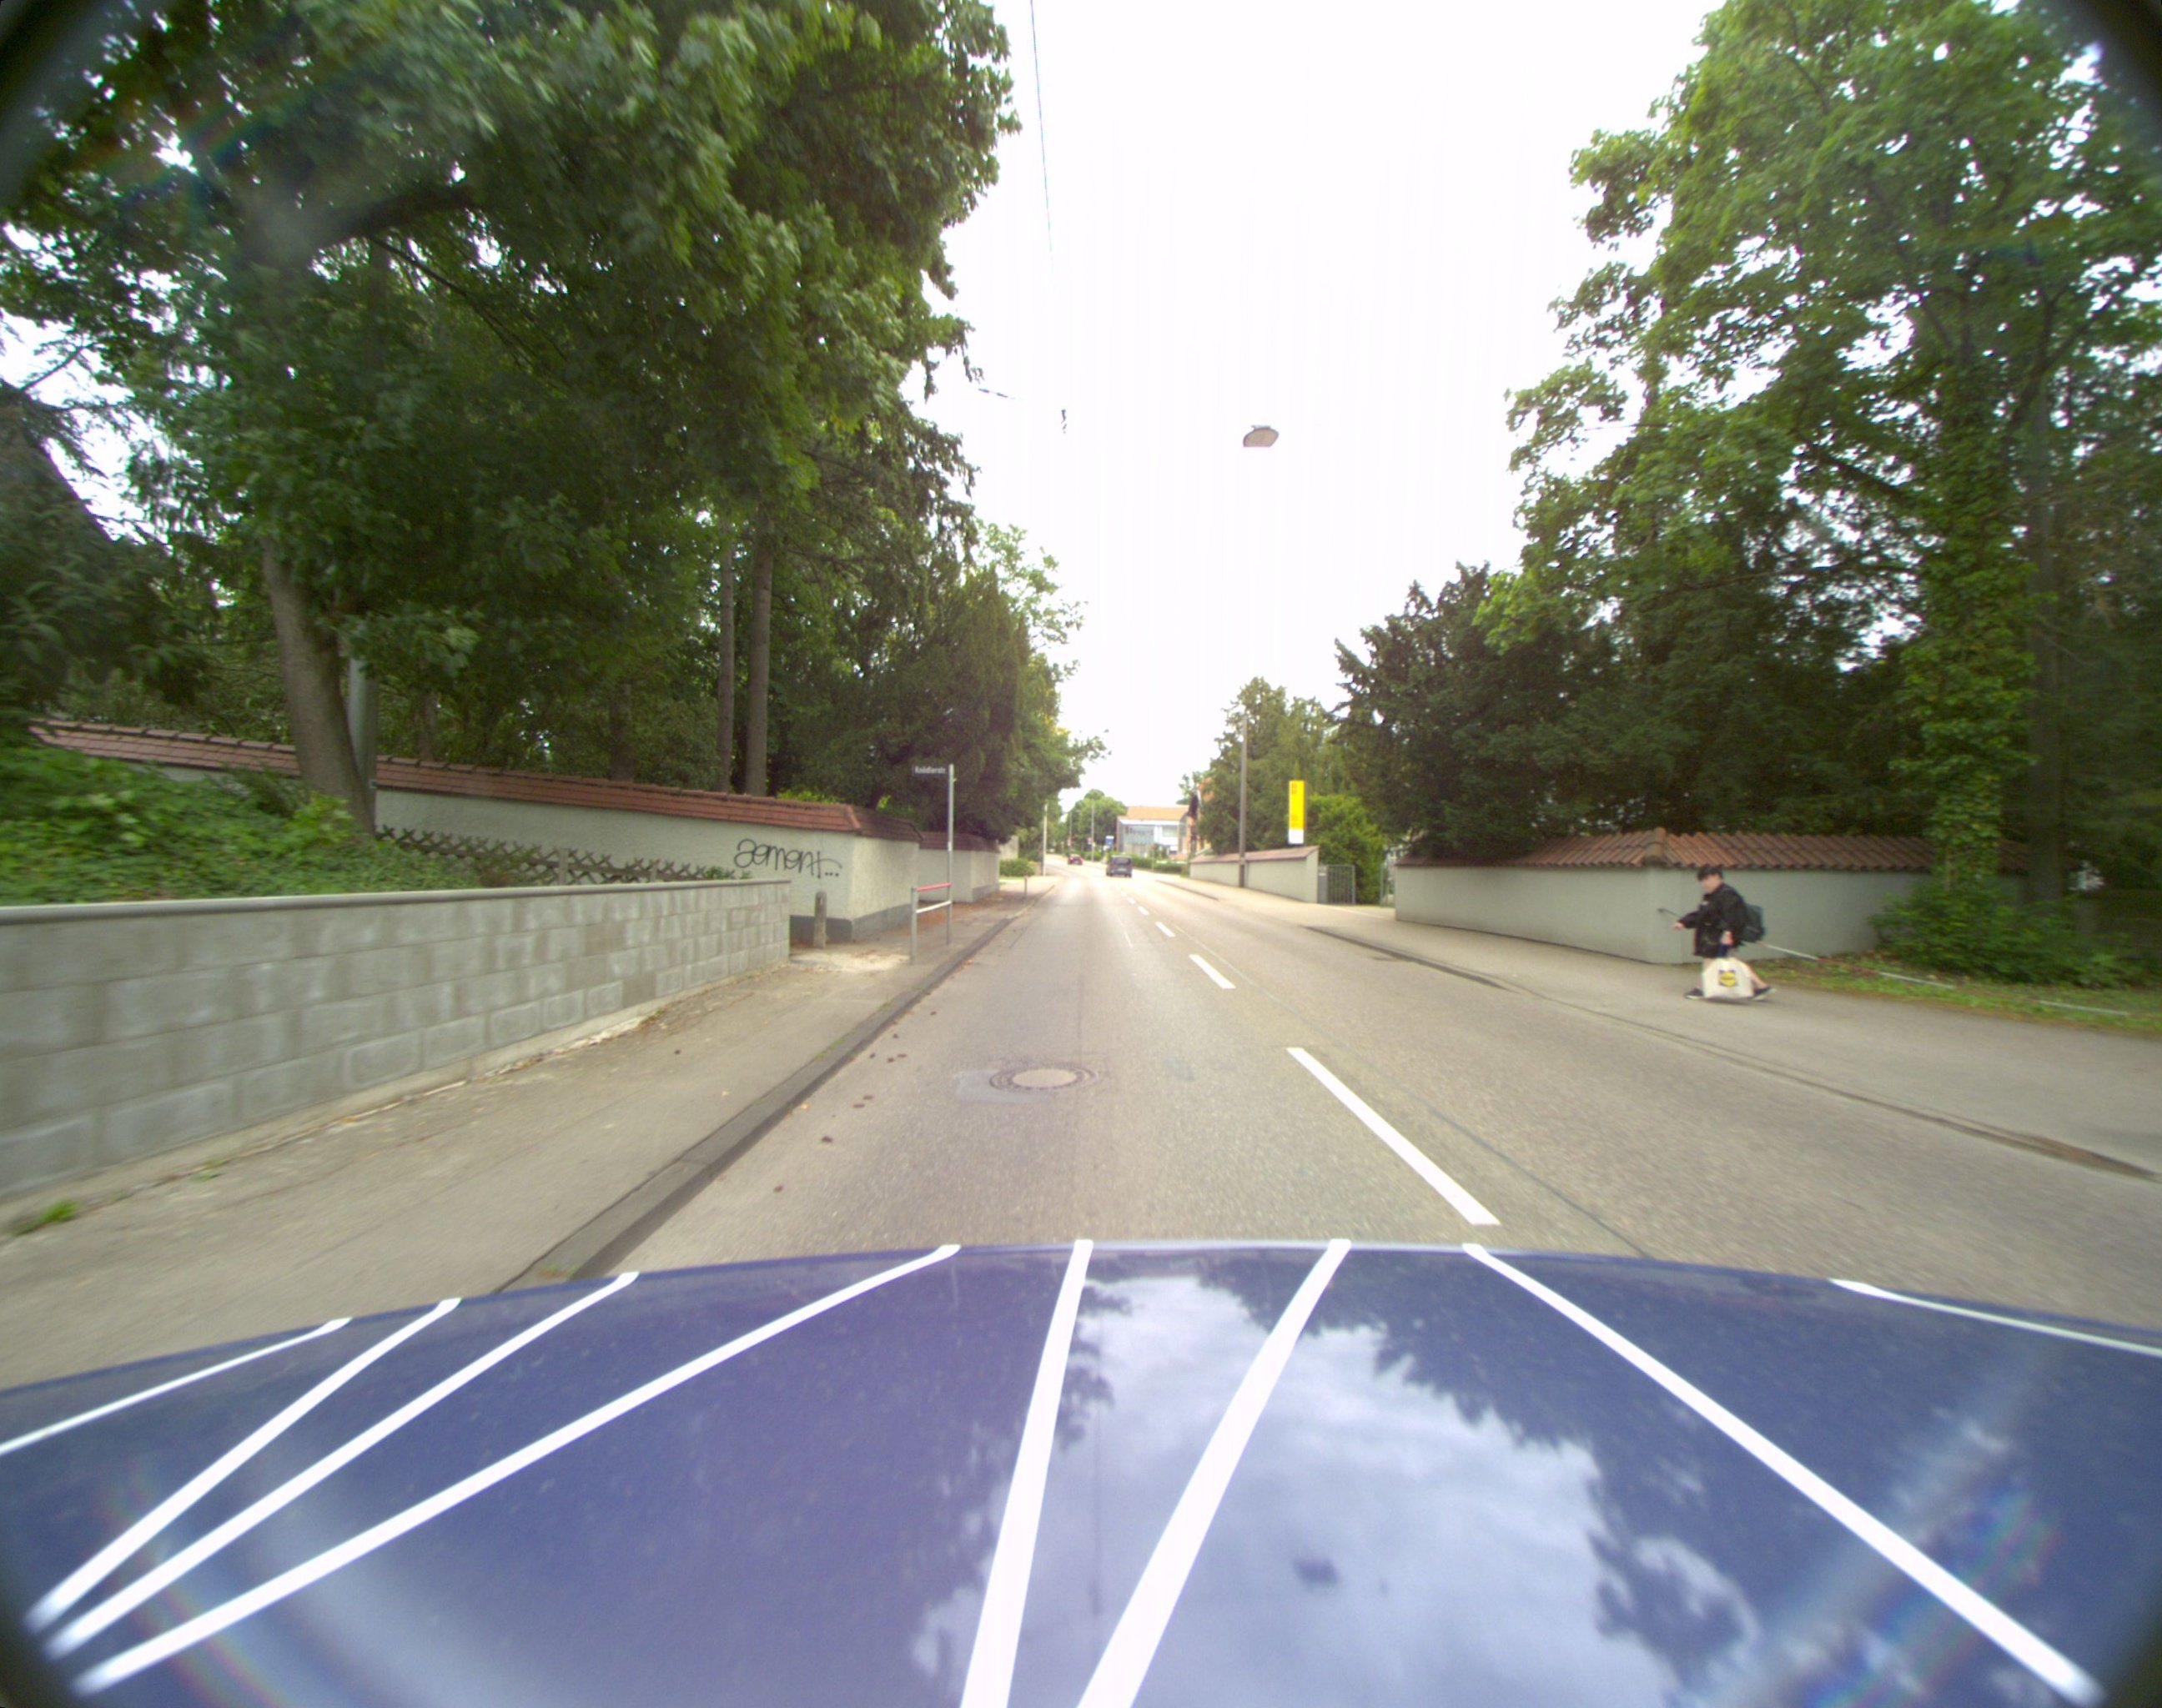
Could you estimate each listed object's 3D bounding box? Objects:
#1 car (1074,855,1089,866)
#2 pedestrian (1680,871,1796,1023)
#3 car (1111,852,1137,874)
[{"bbox_3d":[0.052,0.829,104.617,1.790,1.420,3.999,1,0,-2],"label":"car"},{"bbox_3d":[7.302,0.975,8.500,0.900,1.551,0.930,-1,0,37],"label":"pedestrian"},{"bbox_3d":[3.742,0.725,66.736,1.895,1.845,5.082,1,0,0],"label":"car"}]
